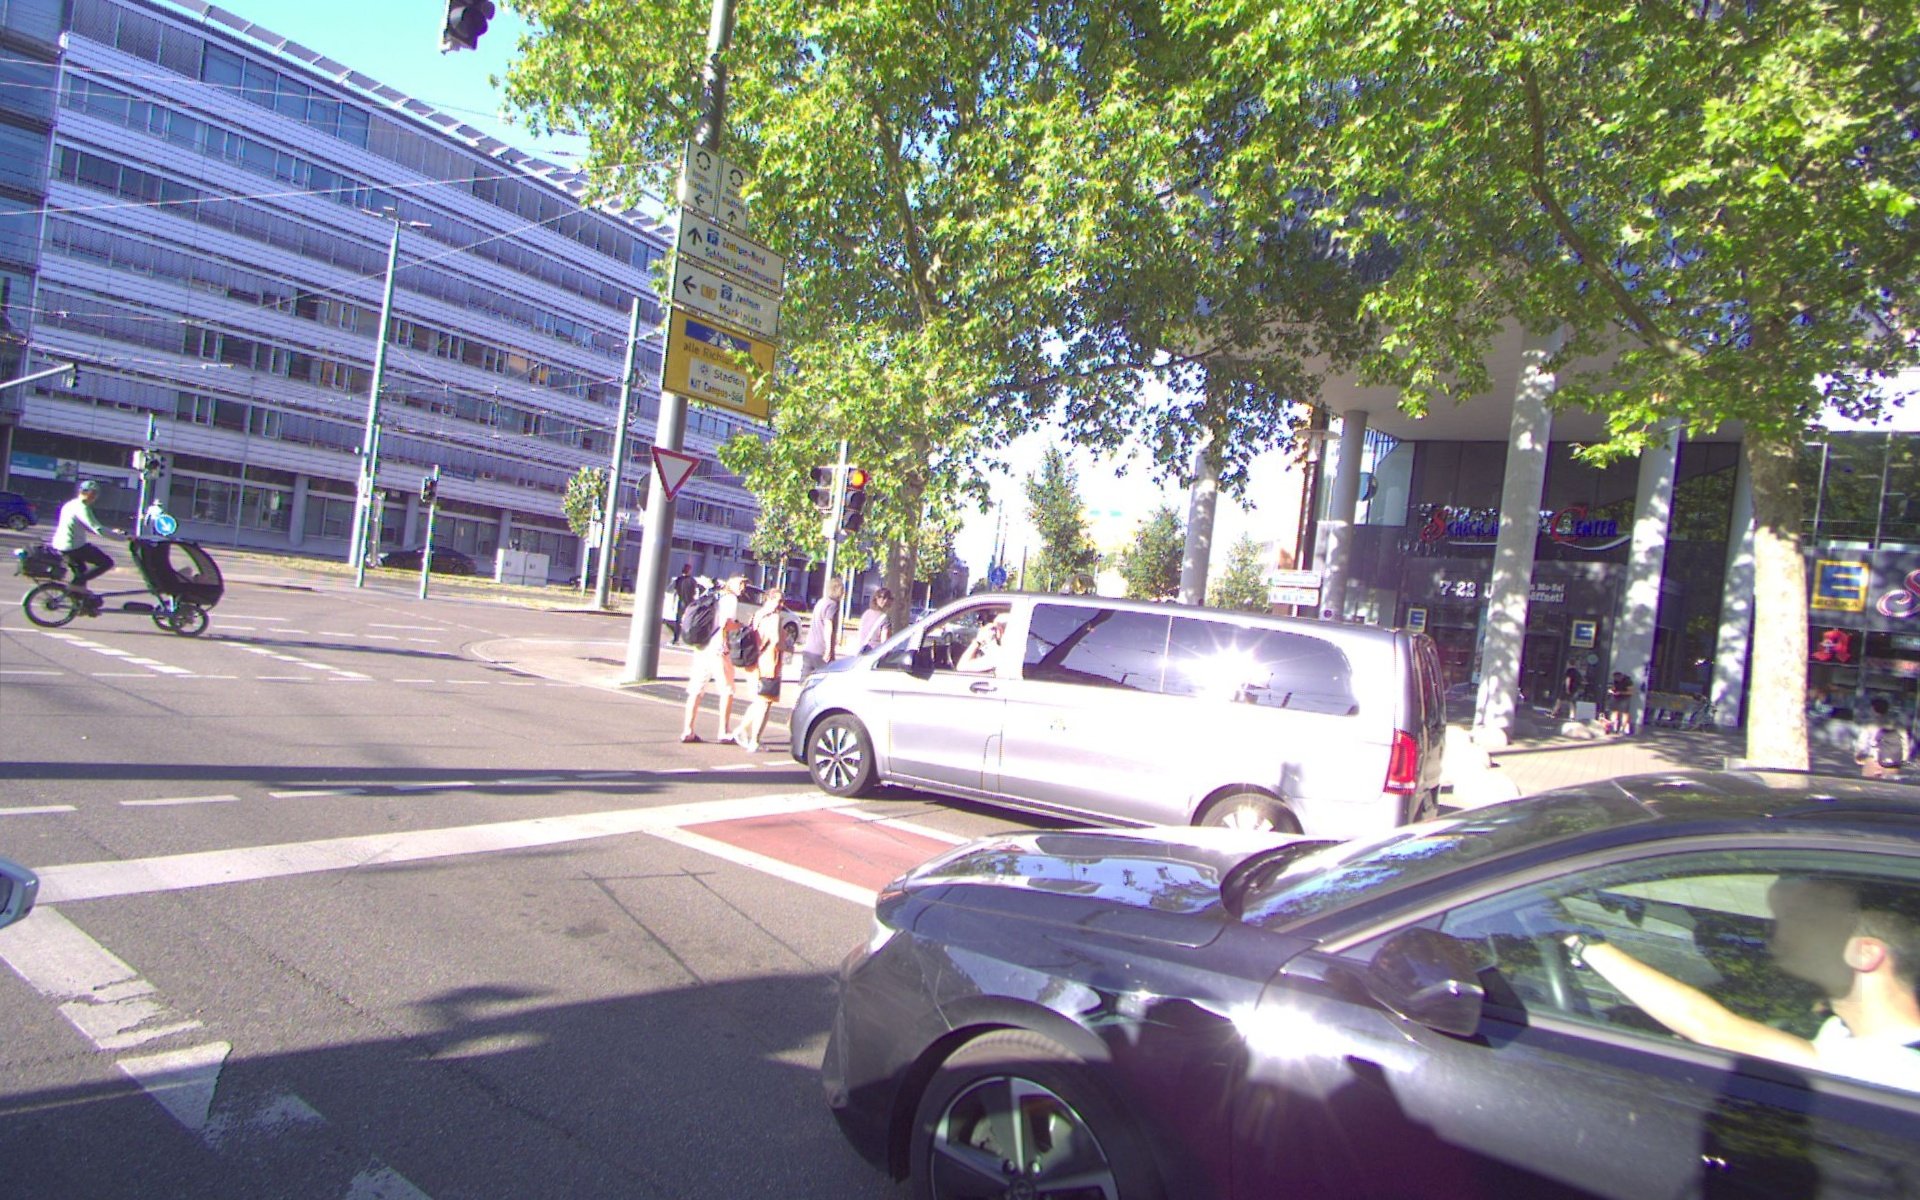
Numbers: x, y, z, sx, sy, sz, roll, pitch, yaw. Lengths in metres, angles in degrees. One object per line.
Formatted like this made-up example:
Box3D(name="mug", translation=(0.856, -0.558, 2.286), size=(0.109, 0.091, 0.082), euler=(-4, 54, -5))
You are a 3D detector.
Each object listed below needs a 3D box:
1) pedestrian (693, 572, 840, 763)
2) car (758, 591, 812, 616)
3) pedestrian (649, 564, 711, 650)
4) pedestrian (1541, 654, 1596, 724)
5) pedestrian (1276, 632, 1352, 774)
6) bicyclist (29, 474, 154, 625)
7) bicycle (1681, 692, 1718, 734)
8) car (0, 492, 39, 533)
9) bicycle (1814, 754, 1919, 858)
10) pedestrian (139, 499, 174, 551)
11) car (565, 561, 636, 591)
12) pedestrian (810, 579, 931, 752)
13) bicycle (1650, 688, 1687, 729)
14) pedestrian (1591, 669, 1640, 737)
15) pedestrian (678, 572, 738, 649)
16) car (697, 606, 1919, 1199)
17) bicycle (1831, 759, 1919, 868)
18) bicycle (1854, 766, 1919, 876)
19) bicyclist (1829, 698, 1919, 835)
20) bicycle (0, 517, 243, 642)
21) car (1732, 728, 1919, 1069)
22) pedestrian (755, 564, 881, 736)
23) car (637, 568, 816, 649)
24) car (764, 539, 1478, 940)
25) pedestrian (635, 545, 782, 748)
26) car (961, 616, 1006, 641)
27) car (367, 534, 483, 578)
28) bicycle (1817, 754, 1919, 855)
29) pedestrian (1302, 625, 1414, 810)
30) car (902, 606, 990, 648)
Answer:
Box3D(name="pedestrian", translation=(-1.885, 0.667, 9.931), size=(0.744, 1.701, 1.076), euler=(7, -1, 25))
Box3D(name="car", translation=(-13.352, 0.279, 76.897), size=(1.731, 1.415, 3.990), euler=(7, 0, 33))
Box3D(name="pedestrian", translation=(-6.471, 0.162, 23.232), size=(0.855, 1.841, 0.845), euler=(7, -1, 39))
Box3D(name="pedestrian", translation=(17.669, 2.582, 29.204), size=(0.990, 1.867, 0.844), euler=(6, 1, -33))
Box3D(name="pedestrian", translation=(4.710, 1.358, 13.340), size=(0.617, 1.735, 1.076), euler=(7, -1, 28))
Box3D(name="bicyclist", translation=(-10.626, -0.604, 12.316), size=(0.680, 1.701, 0.904), euler=(7, 0, 38))
Box3D(name="bicycle", translation=(22.485, 3.440, 30.571), size=(0.709, 1.142, 1.912), euler=(7, 0, 39))
Box3D(name="car", translation=(-36.872, -3.461, 37.015), size=(1.943, 1.364, 3.992), euler=(7, 0, 32))
Box3D(name="bicycle", translation=(11.190, 2.491, 12.067), size=(0.393, 1.038, 1.305), euler=(6, 1, -42))
Box3D(name="pedestrian", translation=(-28.721, -2.678, 35.942), size=(0.549, 1.701, 0.719), euler=(7, -1, 39))
Box3D(name="car", translation=(-22.957, -1.504, 64.364), size=(1.731, 1.415, 3.990), euler=(7, 0, 33))
Box3D(name="pedestrian", translation=(-1.016, 0.754, 11.610), size=(0.744, 1.827, 1.075), euler=(7, -1, 25))
Box3D(name="bicycle", translation=(21.855, 3.346, 31.030), size=(0.709, 1.142, 1.912), euler=(7, 0, 39))
Box3D(name="pedestrian", translation=(17.485, 2.730, 26.864), size=(0.851, 1.662, 0.967), euler=(7, 1, 28))
Box3D(name="pedestrian", translation=(-6.027, 0.256, 24.065), size=(0.855, 1.701, 0.845), euler=(7, -1, 39))
Box3D(name="car", translation=(1.689, 1.038, 2.223), size=(4.274, 1.441, 1.826), euler=(7, -2, 32))
Box3D(name="bicycle", translation=(10.709, 2.420, 11.064), size=(1.545, 1.038, 0.461), euler=(7, 1, 29))
Box3D(name="bicycle", translation=(10.476, 2.410, 10.499), size=(1.545, 1.038, 0.461), euler=(7, 1, 29))
Box3D(name="bicyclist", translation=(13.285, 2.376, 14.423), size=(0.742, 1.790, 0.847), euler=(6, 1, -23))
Box3D(name="bicycle", translation=(-10.474, -0.226, 12.583), size=(1.057, 1.241, 2.156), euler=(8, 0, 39))
Box3D(name="car", translation=(6.425, 1.714, 4.712), size=(4.147, 1.482, 1.767), euler=(7, 0, 32))
Box3D(name="pedestrian", translation=(-1.709, 0.617, 12.279), size=(0.818, 1.916, 1.149), euler=(7, -1, 25))
Box3D(name="car", translation=(-6.537, 0.296, 28.687), size=(1.967, 1.748, 4.840), euler=(7, -1, 33))
Box3D(name="car", translation=(1.107, 0.825, 8.004), size=(5.053, 1.988, 1.997), euler=(7, -2, 32))
Box3D(name="pedestrian", translation=(-2.532, 0.483, 10.245), size=(0.725, 1.893, 1.076), euler=(7, -1, 25))
Box3D(name="car", translation=(2.043, 2.463, 86.303), size=(1.966, 1.682, 3.992), euler=(7, 0, 31))
Box3D(name="car", translation=(-24.148, -1.977, 45.531), size=(1.768, 1.409, 4.241), euler=(7, 0, 36))
Box3D(name="bicycle", translation=(11.524, 2.542, 12.416), size=(0.393, 1.038, 1.305), euler=(6, 1, -42))
Box3D(name="pedestrian", translation=(4.292, 1.236, 10.820), size=(0.795, 1.808, 0.873), euler=(7, 1, 31))
Box3D(name="car", translation=(-0.588, 1.220, 45.113), size=(1.797, 1.451, 3.909), euler=(7, -1, 37))
